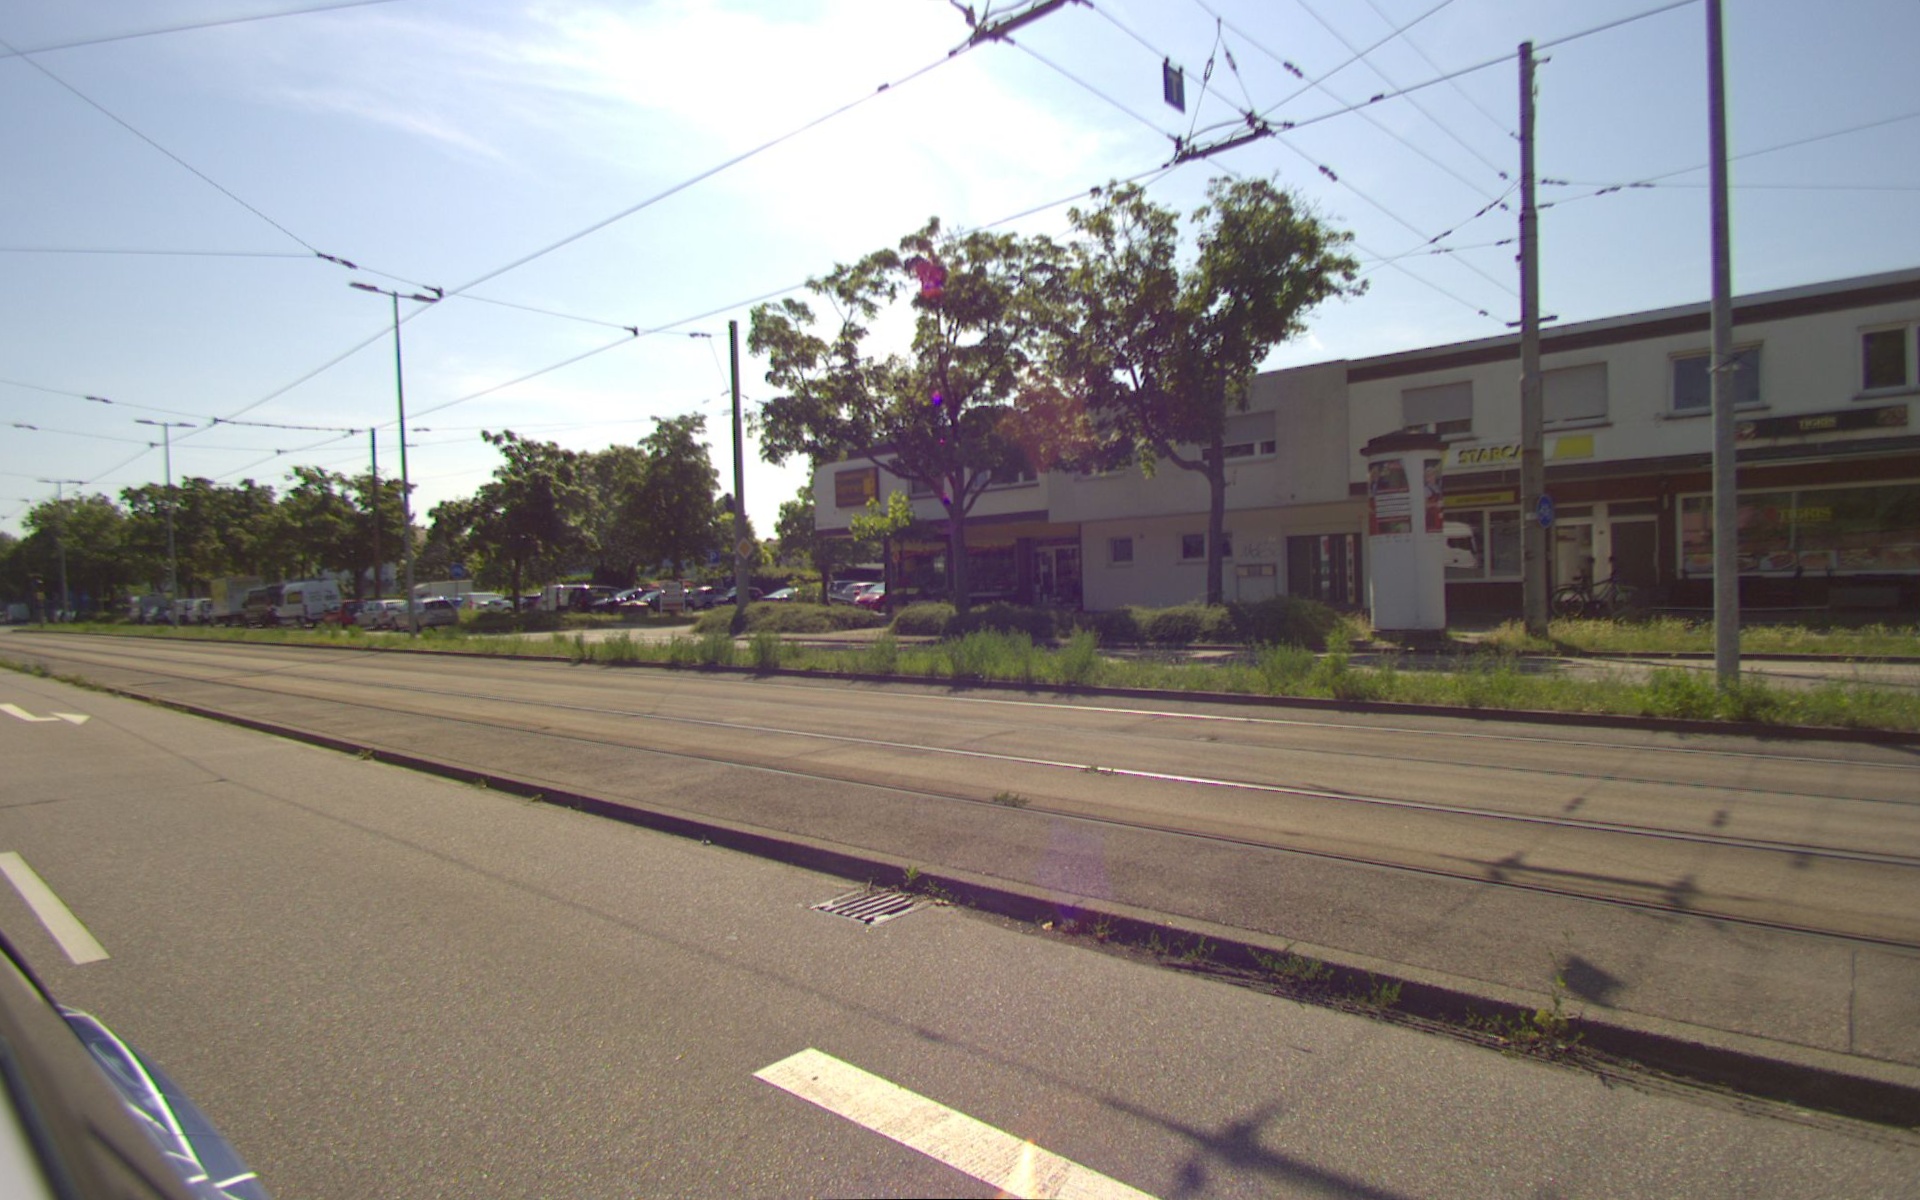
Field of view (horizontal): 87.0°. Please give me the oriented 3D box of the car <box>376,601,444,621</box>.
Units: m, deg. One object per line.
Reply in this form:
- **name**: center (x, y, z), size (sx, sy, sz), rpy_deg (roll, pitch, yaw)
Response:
- **car**: center (-42.060, 0.814, 77.442), size (1.676, 1.345, 4.198), rpy_deg (-1, 1, 41)

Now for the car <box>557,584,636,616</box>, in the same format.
- **car**: center (-20.257, -0.002, 56.499), size (1.676, 1.646, 3.761), rpy_deg (-1, 1, 42)

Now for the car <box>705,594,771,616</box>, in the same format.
- **car**: center (-15.272, 0.347, 69.742), size (1.676, 1.345, 4.197), rpy_deg (-1, 1, 42)

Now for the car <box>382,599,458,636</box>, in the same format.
- **car**: center (-25.316, 0.826, 47.422), size (4.255, 1.544, 1.654), rpy_deg (-1, 4, 41)

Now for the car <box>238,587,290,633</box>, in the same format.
- **car**: center (-42.342, 0.608, 61.569), size (4.005, 2.643, 1.483), rpy_deg (-1, 4, 41)

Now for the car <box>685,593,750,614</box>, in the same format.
- **car**: center (-17.102, 0.251, 71.434), size (1.676, 1.345, 4.197), rpy_deg (-1, 1, 42)

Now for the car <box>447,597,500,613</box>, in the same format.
- **car**: center (-45.928, 0.429, 95.644), size (1.676, 1.345, 4.198), rpy_deg (-1, 1, 41)

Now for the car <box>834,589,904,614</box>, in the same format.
- **car**: center (-5.536, 0.067, 61.720), size (1.676, 1.345, 4.197), rpy_deg (-1, 1, 42)

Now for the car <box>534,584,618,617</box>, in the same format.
- **car**: center (-22.057, -0.001, 58.192), size (1.988, 1.751, 4.068), rpy_deg (-1, 1, 38)

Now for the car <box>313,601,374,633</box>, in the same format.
- **car**: center (-33.150, 0.932, 54.374), size (3.791, 1.544, 1.654), rpy_deg (-1, 4, 41)

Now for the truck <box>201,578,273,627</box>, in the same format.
- **truck**: center (-48.289, 0.164, 67.536), size (5.902, 2.956, 2.476), rpy_deg (-1, 4, 42)

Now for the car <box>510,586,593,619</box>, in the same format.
- **car**: center (-24.032, 0.134, 59.674), size (1.988, 1.751, 4.068), rpy_deg (-1, 1, 38)

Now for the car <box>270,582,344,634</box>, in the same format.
- **car**: center (-37.246, 0.473, 57.659), size (5.201, 2.673, 2.036), rpy_deg (-1, 4, 41)

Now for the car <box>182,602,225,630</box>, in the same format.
- **car**: center (-54.725, 1.154, 73.161), size (4.631, 1.817, 1.483), rpy_deg (-1, 4, 41)

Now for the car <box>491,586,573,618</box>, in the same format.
- **car**: center (-25.899, 0.112, 61.348), size (1.988, 1.751, 4.068), rpy_deg (-1, 1, 38)

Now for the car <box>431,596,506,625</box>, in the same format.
- **car**: center (-33.292, 0.710, 68.426), size (5.739, 1.825, 2.560), rpy_deg (-1, 1, 42)

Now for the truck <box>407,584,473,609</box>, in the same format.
- **truck**: center (-52.913, -0.346, 103.093), size (1.988, 2.398, 5.584), rpy_deg (-1, 1, 38)

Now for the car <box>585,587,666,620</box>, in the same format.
- **car**: center (-17.955, 0.162, 54.438), size (1.676, 1.646, 3.761), rpy_deg (-1, 1, 42)

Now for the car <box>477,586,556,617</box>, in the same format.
- **car**: center (-28.019, 0.082, 64.006), size (1.988, 1.751, 4.068), rpy_deg (-1, 1, 38)

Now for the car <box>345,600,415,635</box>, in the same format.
- **car**: center (-29.260, 0.881, 51.020), size (4.255, 1.544, 1.654), rpy_deg (-1, 4, 41)

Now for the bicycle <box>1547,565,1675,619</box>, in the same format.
- **bicycle**: center (14.691, -0.165, 22.897), size (2.333, 1.161, 0.779), rpy_deg (-1, -1, 42)

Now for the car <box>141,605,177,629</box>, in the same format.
- **car**: center (-64.399, 1.385, 81.374), size (3.685, 1.799, 1.484), rpy_deg (-1, 4, 40)

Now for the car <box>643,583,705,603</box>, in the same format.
- **car**: center (-21.096, -0.512, 74.698), size (1.674, 1.345, 4.201), rpy_deg (-1, 1, 39)

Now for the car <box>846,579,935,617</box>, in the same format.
- **car**: center (-3.239, -0.115, 47.989), size (1.676, 1.616, 4.197), rpy_deg (-1, 1, 42)

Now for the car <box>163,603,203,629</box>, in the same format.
- **car**: center (-59.740, 1.235, 77.832), size (4.056, 1.859, 1.484), rpy_deg (-1, 4, 40)
